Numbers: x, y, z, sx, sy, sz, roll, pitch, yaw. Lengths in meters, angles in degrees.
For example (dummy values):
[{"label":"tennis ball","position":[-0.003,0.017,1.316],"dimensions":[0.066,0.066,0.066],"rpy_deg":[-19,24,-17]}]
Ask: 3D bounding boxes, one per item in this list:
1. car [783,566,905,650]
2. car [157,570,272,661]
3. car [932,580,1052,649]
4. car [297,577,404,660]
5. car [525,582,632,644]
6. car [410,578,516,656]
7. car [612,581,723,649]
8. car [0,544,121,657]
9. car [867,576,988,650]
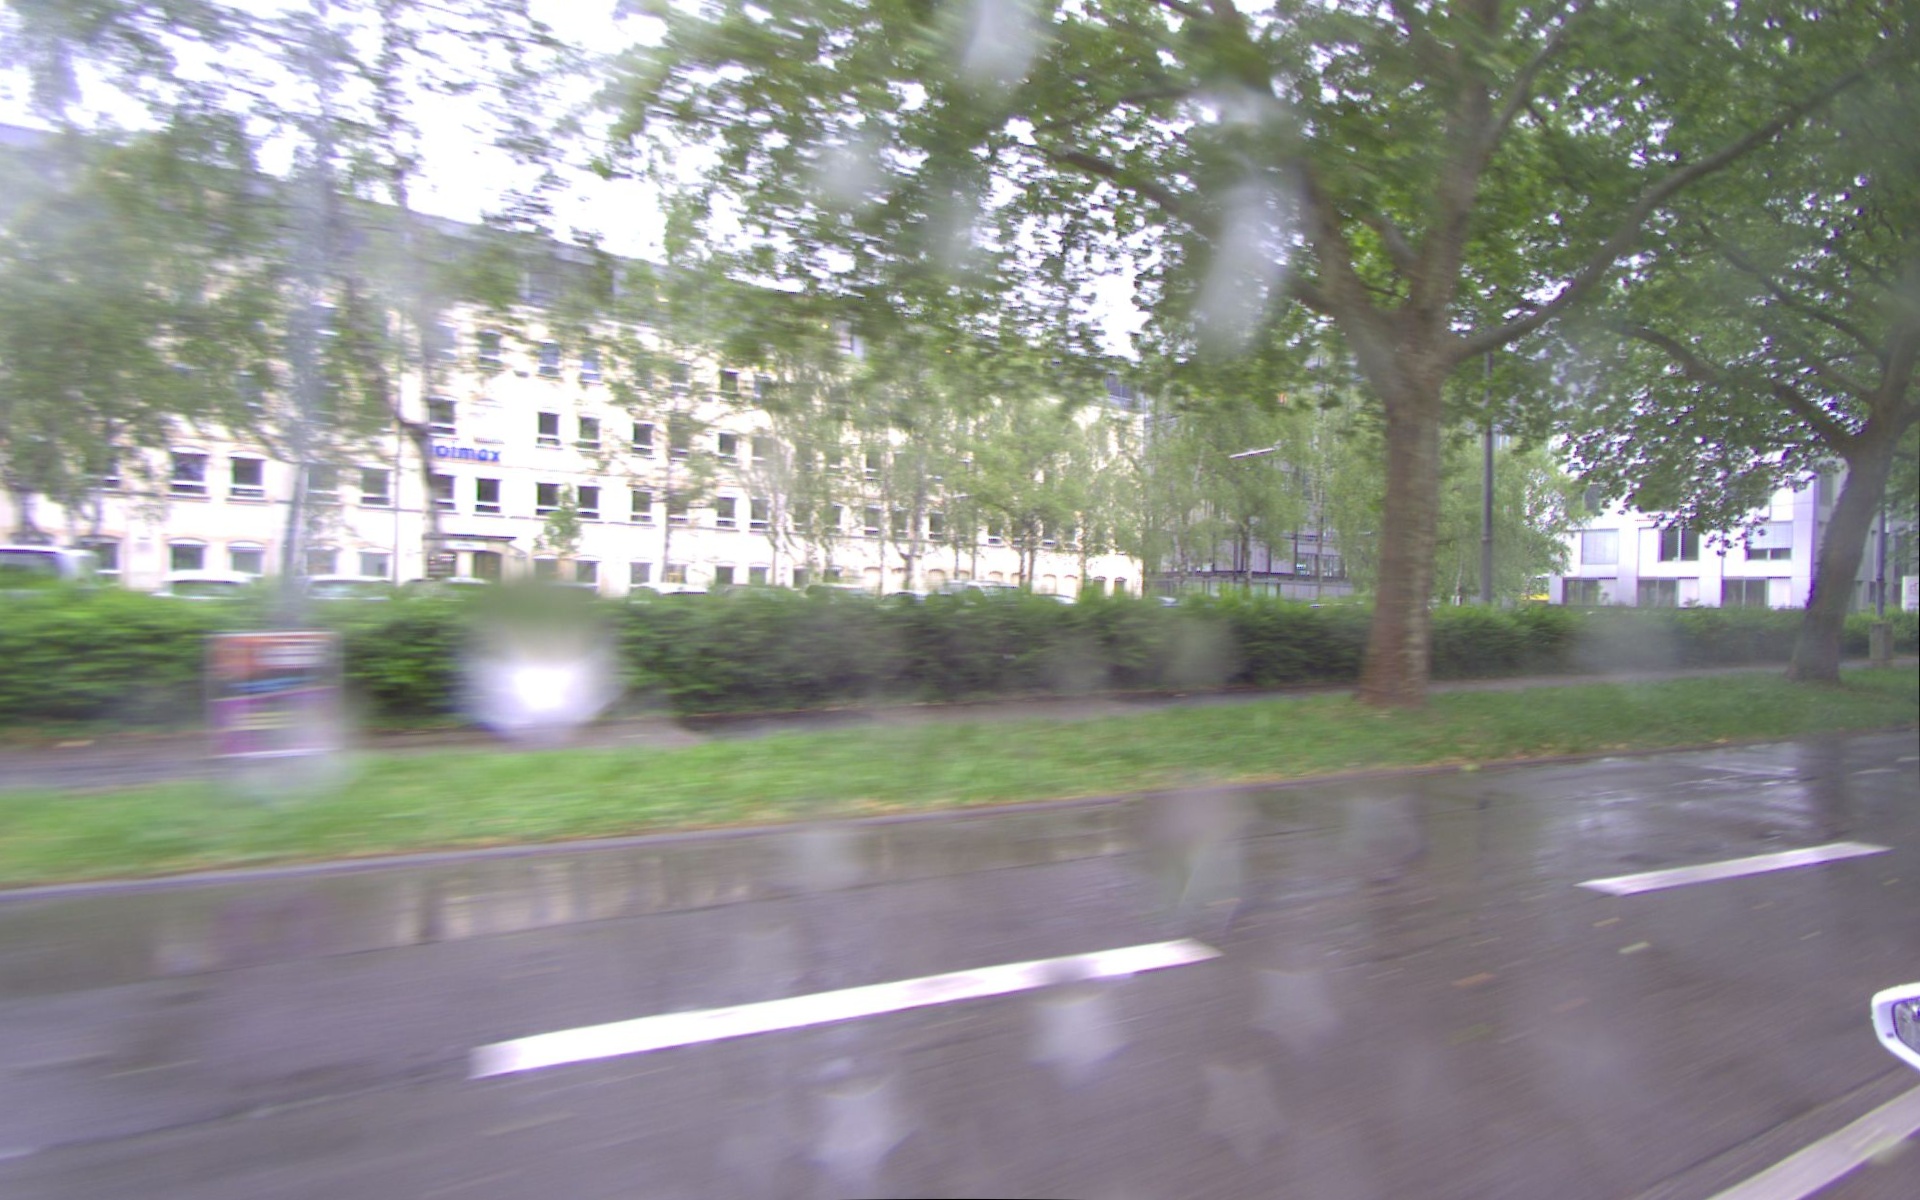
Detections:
[{"label":"car","position":[-3.326,0.227,28.180],"dimensions":[1.977,2.161,3.967],"rpy_deg":[0,0,-31]},{"label":"car","position":[-14.795,0.243,20.079],"dimensions":[1.701,1.620,3.781],"rpy_deg":[0,1,-35]},{"label":"car","position":[0.943,0.448,31.719],"dimensions":[1.977,2.040,3.966],"rpy_deg":[0,0,-31]},{"label":"car","position":[-13.232,0.334,21.837],"dimensions":[1.834,1.620,3.965],"rpy_deg":[1,1,-32]},{"label":"car","position":[-9.401,0.308,24.570],"dimensions":[1.863,1.392,3.969],"rpy_deg":[1,-1,-29]},{"label":"car","position":[-11.545,0.330,23.208],"dimensions":[1.834,1.620,3.965],"rpy_deg":[1,1,-32]},{"label":"car","position":[-7.533,0.336,25.629],"dimensions":[1.863,1.571,3.968],"rpy_deg":[1,1,-29]},{"label":"car","position":[-16.803,-0.032,18.439],"dimensions":[1.836,1.857,3.959],"rpy_deg":[0,1,-35]},{"label":"car","position":[-1.043,0.373,30.053],"dimensions":[1.977,2.040,3.966],"rpy_deg":[0,0,-31]}]
